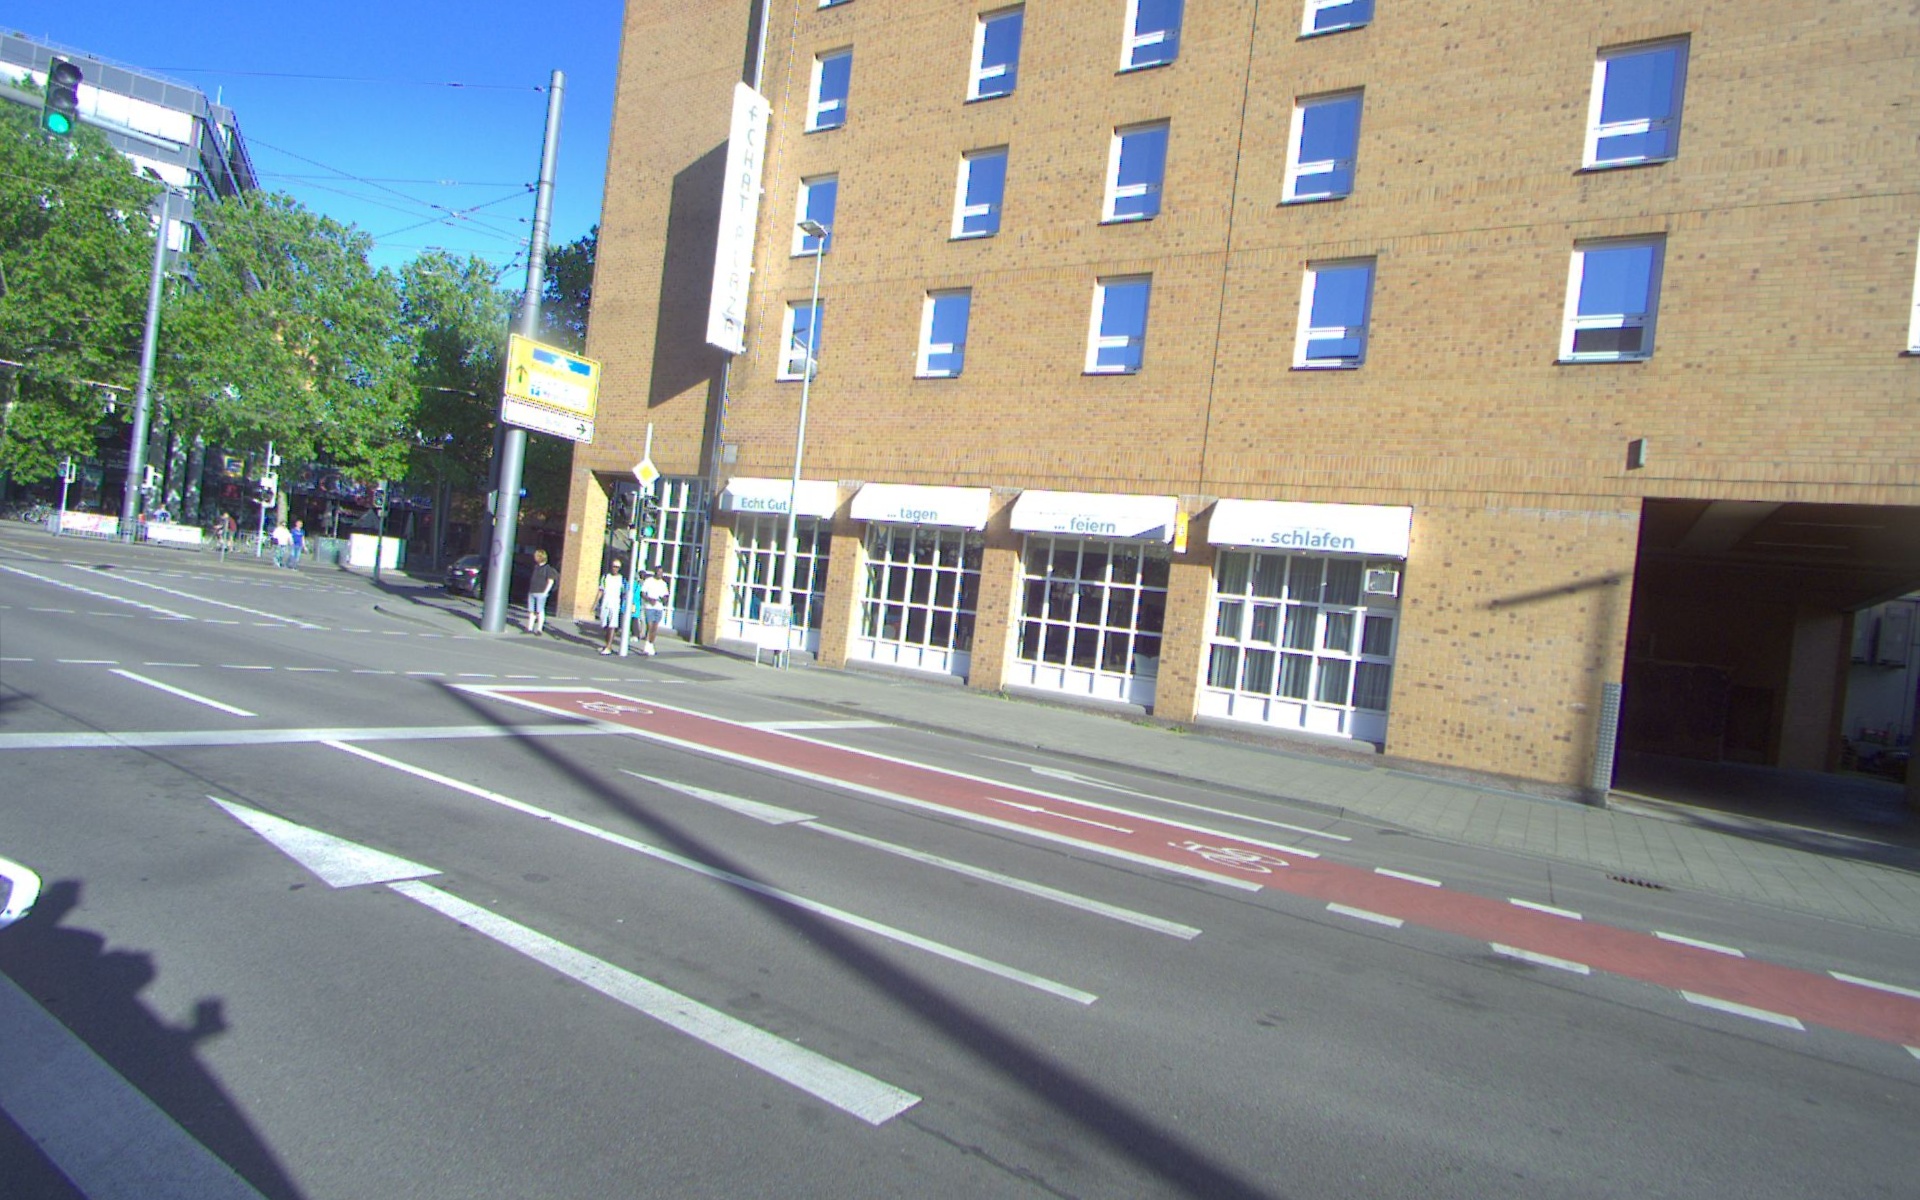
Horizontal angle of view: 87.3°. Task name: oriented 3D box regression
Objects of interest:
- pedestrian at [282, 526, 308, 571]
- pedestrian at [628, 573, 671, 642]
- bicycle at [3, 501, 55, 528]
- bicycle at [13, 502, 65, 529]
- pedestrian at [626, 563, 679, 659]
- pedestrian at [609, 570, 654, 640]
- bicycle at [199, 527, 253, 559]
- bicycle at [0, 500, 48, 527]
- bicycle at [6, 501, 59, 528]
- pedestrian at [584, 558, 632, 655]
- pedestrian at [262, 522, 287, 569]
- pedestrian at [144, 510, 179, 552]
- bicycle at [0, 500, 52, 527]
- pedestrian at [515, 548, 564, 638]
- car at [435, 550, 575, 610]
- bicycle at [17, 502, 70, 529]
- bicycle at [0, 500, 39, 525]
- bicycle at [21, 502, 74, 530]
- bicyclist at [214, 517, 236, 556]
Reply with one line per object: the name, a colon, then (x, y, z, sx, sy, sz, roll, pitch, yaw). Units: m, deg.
pedestrian: (-23.522, -1.804, 35.574, 0.563, 1.496, 0.695, 8, -2, -37)
pedestrian: (-7.029, 0.174, 22.794, 0.543, 1.495, 0.593, 6, 0, 32)
bicycle: (-48.352, -4.432, 52.263, 0.354, 1.058, 1.884, 6, -2, 31)
bicycle: (-47.321, -4.335, 51.717, 0.354, 1.058, 1.884, 6, -2, 31)
pedestrian: (-6.078, 0.212, 19.892, 0.673, 1.802, 0.591, 6, 1, 43)
pedestrian: (-7.276, 0.120, 22.278, 0.591, 1.470, 0.593, 6, 0, 32)
bicycle: (-36.257, -2.809, 49.712, 0.414, 1.228, 2.046, 6, -2, 32)
bicycle: (-49.181, -4.537, 52.756, 0.354, 1.058, 1.885, 7, -2, 31)
bicycle: (-47.841, -4.382, 51.911, 0.354, 1.058, 1.884, 7, -2, 31)
pedestrian: (-6.834, 0.124, 19.525, 0.589, 1.804, 0.674, 3, 4, -38)
pedestrian: (-23.868, -1.895, 35.034, 0.562, 1.550, 0.696, 8, -1, -35)
pedestrian: (-35.407, -3.057, 44.604, 0.747, 1.724, 0.834, 6, -1, 32)
bicycle: (-48.760, -4.487, 52.507, 0.354, 1.058, 1.885, 7, -2, 31)
pedestrian: (-8.966, -0.148, 21.463, 0.726, 1.813, 0.510, 7, -1, -19)
car: (-15.798, -0.658, 35.109, 1.710, 1.466, 4.030, 7, -2, 36)
bicycle: (-46.678, -4.286, 51.233, 0.354, 1.058, 1.884, 6, -2, 31)
bicycle: (-50.156, -4.648, 53.320, 0.354, 1.058, 1.885, 7, -2, 31)
bicycle: (-46.046, -4.236, 50.794, 0.354, 1.058, 1.884, 6, -2, 31)
bicyclist: (-36.279, -3.130, 49.632, 0.396, 1.859, 0.585, 6, -1, 31)
